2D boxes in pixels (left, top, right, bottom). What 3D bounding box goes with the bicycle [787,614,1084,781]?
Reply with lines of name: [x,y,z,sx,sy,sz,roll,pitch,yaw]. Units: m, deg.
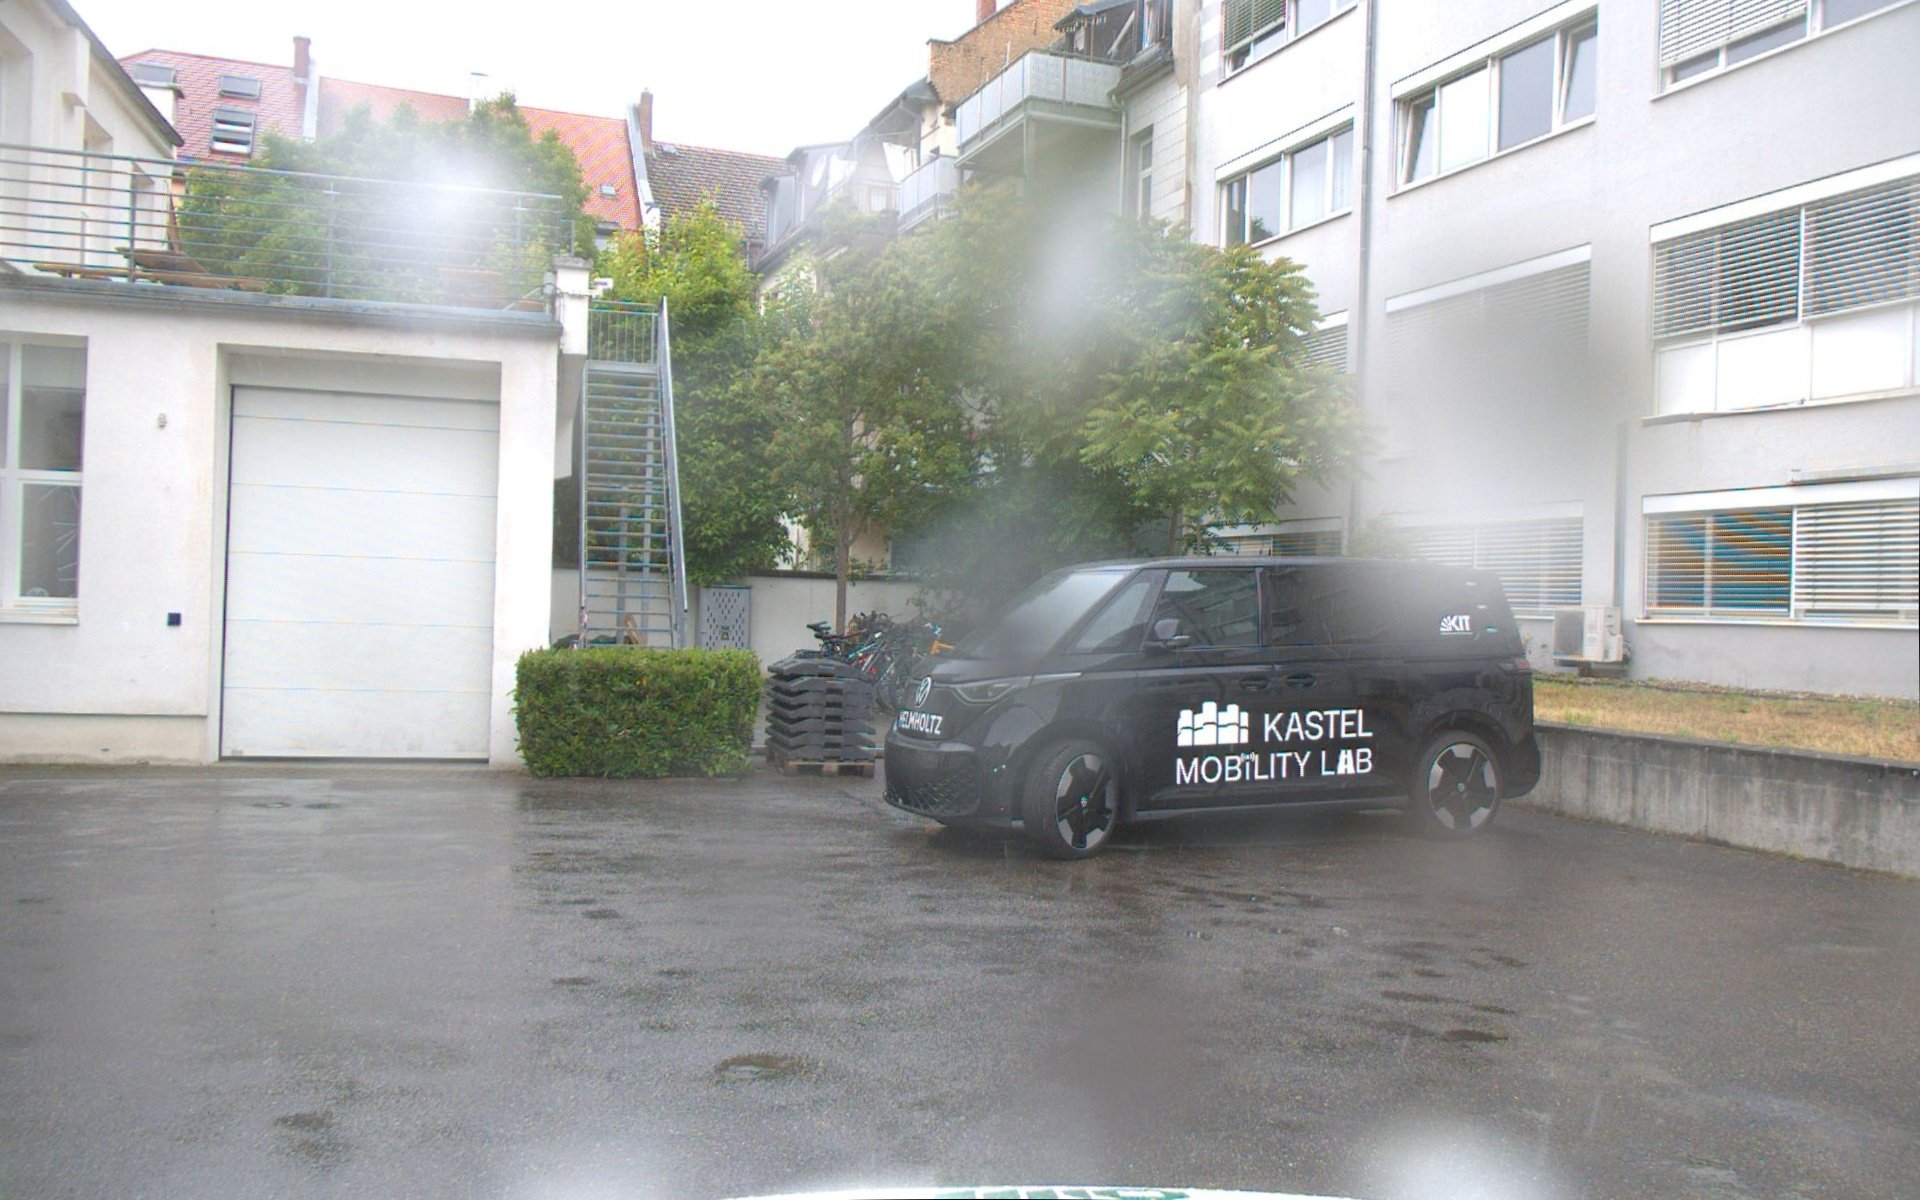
bicycle: [-0.250,1.057,17.974,3.164,1.733,0.628,1,-1,-18]

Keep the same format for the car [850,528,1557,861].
car: [1.676,0.605,11.442,4.446,1.930,2.032,1,-1,-23]

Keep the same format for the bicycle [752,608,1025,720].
bicycle: [-0.828,0.768,19.600,3.164,1.263,0.628,1,-1,-18]

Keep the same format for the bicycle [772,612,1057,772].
bicycle: [-0.499,1.040,18.771,3.164,1.733,0.628,1,-1,-18]

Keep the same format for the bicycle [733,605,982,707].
bicycle: [-1.321,0.734,21.558,3.164,1.263,0.628,1,-1,-18]

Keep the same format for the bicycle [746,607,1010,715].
bicycle: [-0.991,0.756,20.279,3.164,1.263,0.628,1,-1,-18]

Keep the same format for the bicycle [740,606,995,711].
bicycle: [-1.156,0.745,20.929,3.164,1.263,0.628,1,-1,-18]
